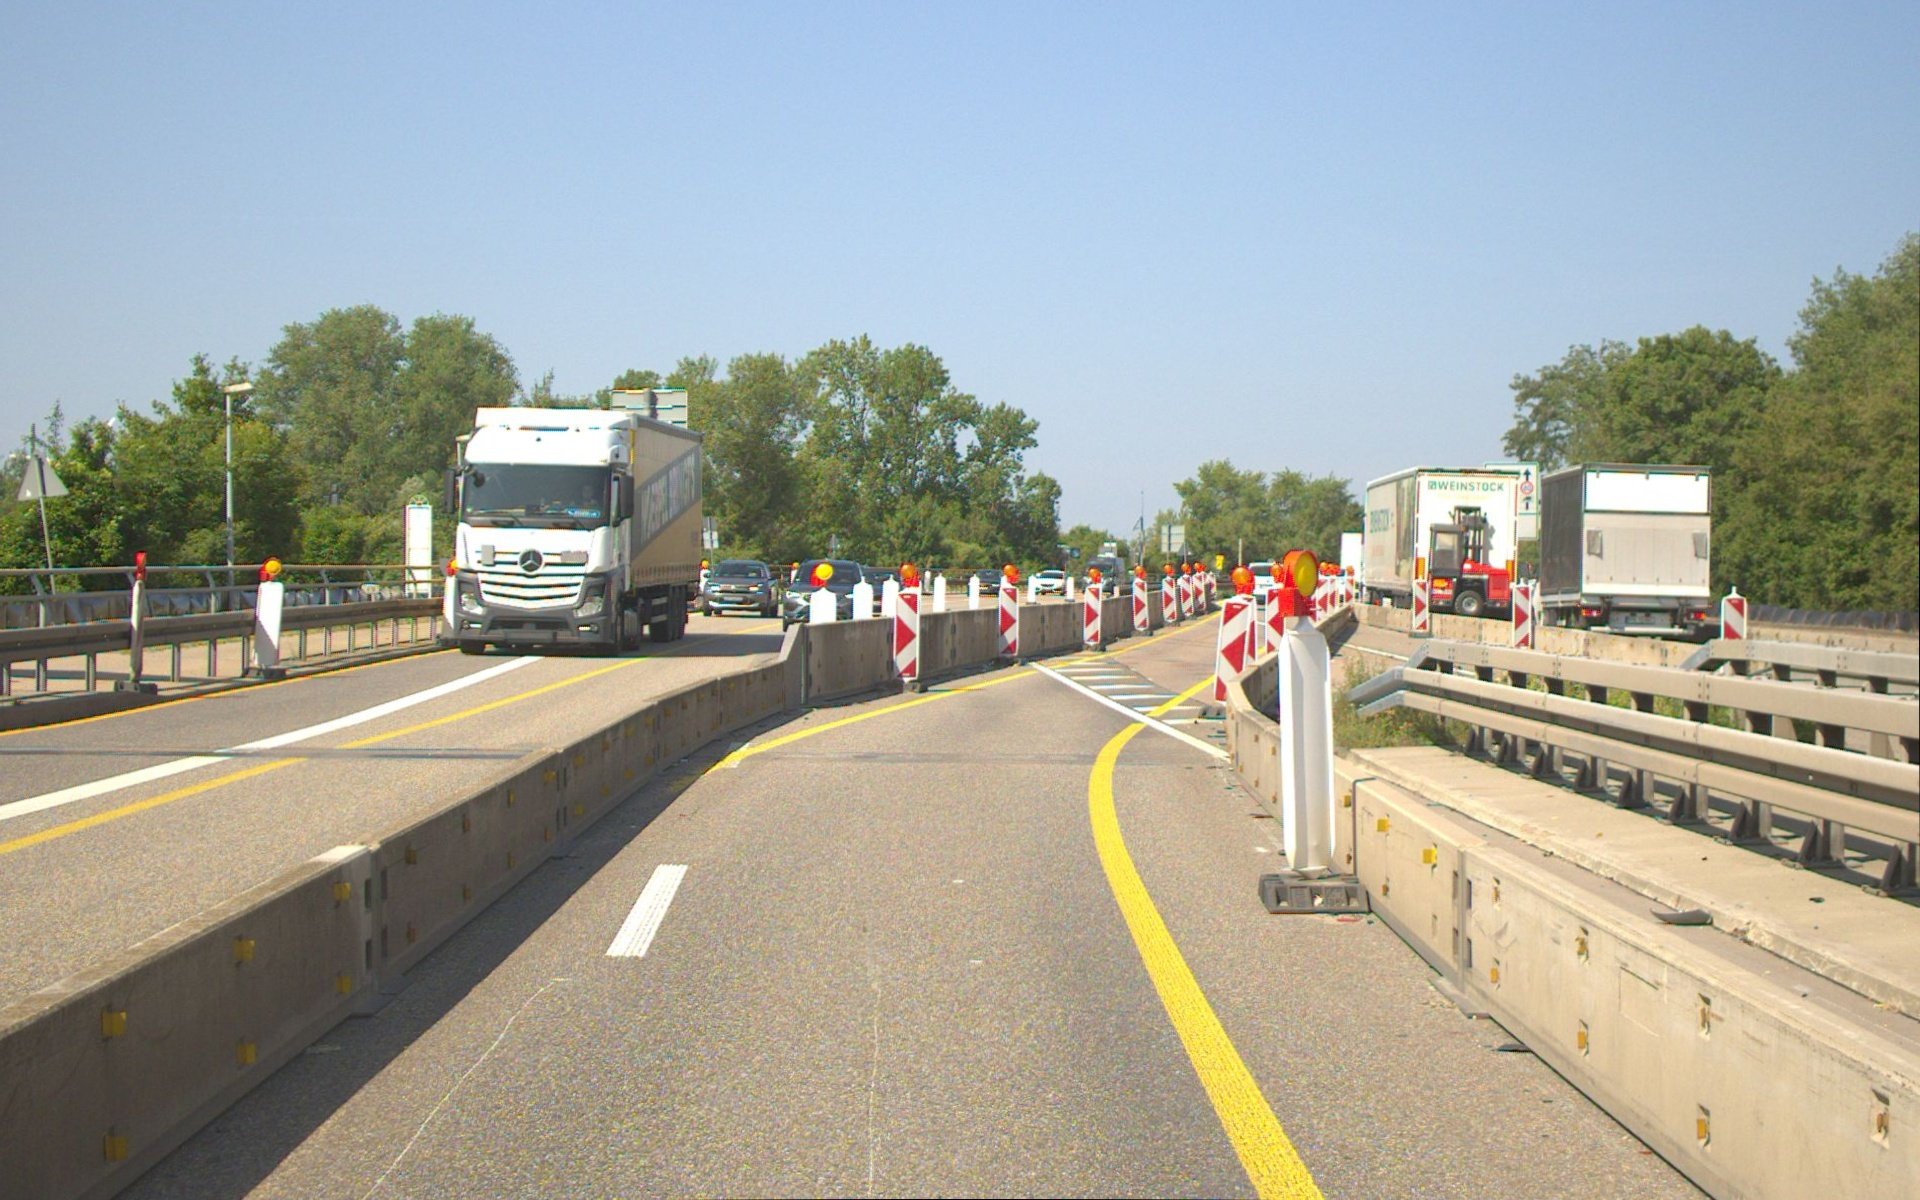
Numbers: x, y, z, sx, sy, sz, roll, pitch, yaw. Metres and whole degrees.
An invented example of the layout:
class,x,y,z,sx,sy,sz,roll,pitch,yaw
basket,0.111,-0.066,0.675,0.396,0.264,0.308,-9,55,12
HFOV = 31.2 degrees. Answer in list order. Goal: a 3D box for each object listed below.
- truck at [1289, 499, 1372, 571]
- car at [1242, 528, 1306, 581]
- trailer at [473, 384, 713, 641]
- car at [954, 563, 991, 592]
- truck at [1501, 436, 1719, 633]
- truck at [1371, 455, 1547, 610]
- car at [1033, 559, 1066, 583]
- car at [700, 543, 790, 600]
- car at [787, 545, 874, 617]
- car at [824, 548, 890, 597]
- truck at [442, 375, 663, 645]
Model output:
class,x,y,z,sx,sy,sz,roll,pitch,yaw
truck,22.425,-3.906,208.705,4.220,4.252,10.240,0,1,2
car,10.729,-1.567,117.786,1.816,1.770,4.000,0,1,0
trailer,-6.454,-1.499,62.788,2.761,4.122,14.532,0,1,0
car,0.646,-1.164,177.799,1.737,1.471,4.645,0,1,2
truck,12.099,-1.229,64.641,2.634,3.416,7.233,2,1,0
truck,12.623,-1.695,87.597,3.388,3.761,7.233,0,1,0
car,5.274,-1.703,201.663,1.719,1.392,4.519,2,1,3
car,-5.820,-0.785,93.531,1.933,1.503,4.469,0,1,3
car,-2.839,-0.440,76.152,1.790,1.563,3.873,0,1,0
car,-2.942,-0.795,99.050,1.689,1.371,4.273,0,1,1
truck,-6.529,-1.411,55.927,2.749,4.122,6.415,0,1,1
